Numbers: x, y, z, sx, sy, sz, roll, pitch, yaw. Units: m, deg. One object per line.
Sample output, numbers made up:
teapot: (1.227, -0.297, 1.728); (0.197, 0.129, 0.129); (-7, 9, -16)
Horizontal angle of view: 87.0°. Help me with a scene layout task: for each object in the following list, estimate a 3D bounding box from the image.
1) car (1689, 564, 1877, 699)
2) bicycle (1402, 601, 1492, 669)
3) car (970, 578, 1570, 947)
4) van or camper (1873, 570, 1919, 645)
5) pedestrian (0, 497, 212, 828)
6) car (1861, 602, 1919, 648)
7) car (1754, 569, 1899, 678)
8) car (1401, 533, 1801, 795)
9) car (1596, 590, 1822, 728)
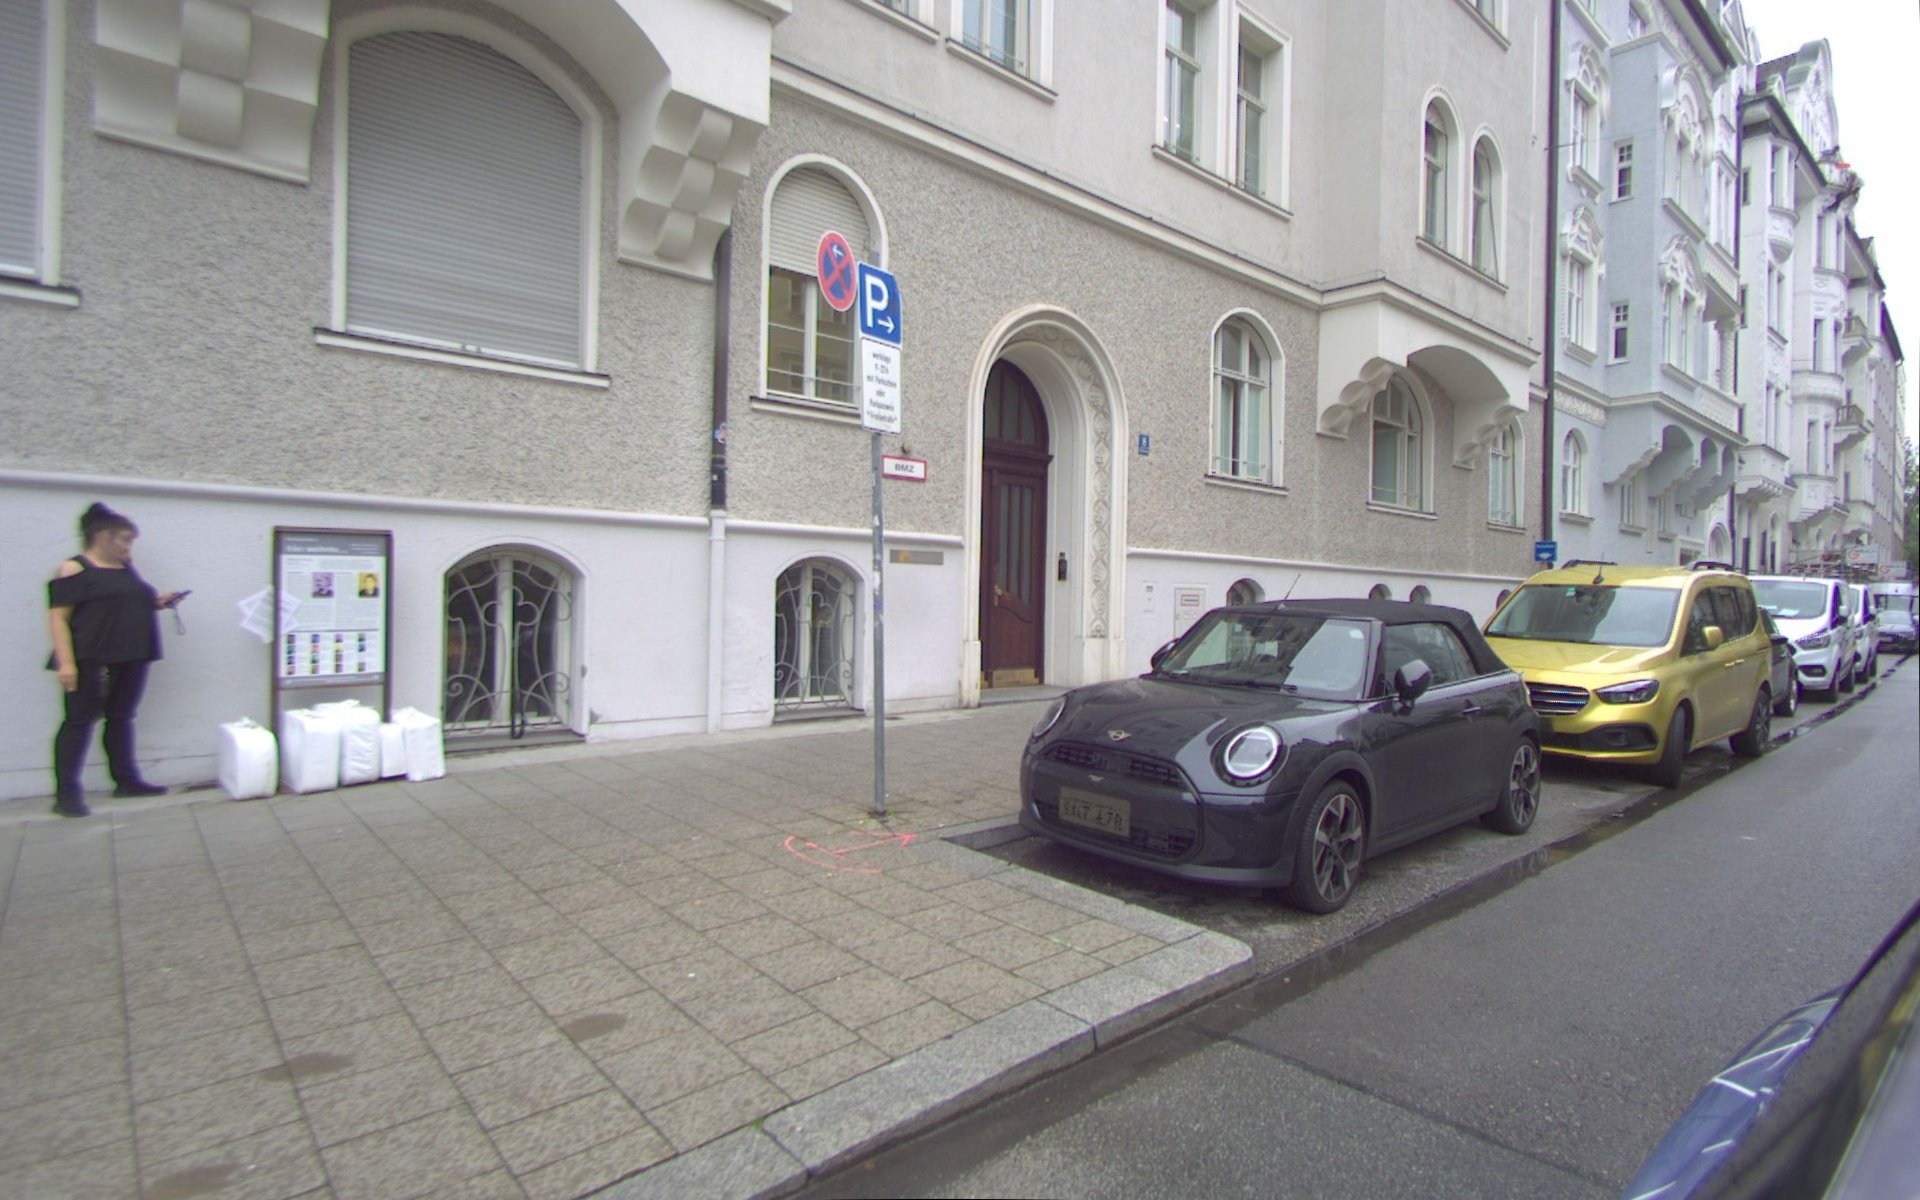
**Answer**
car: (13.991, 0.442, 17.084); (1.960, 1.961, 4.912); (1, 1, 45)
bicycle: (8.621, 0.594, 17.878); (2.002, 1.107, 0.695); (1, 2, -42)
car: (2.027, 0.650, 5.968); (3.829, 1.475, 1.666); (1, 0, -42)
van or camper: (36.015, 0.273, 38.151); (5.367, 2.670, 1.956); (0, 1, -43)
pedestrian: (-4.891, 0.310, 5.762); (0.680, 1.758, 0.736); (1, 4, 3)
car: (31.618, 0.802, 34.013); (4.020, 1.452, 1.755); (0, 1, -45)
car: (18.430, 0.431, 21.438); (1.960, 2.039, 4.912); (1, 1, 45)
car: (6.186, 0.459, 9.500); (4.735, 1.876, 1.854); (1, 0, -40)
car: (9.735, 0.651, 13.052); (3.718, 1.503, 1.634); (0, 1, -42)
